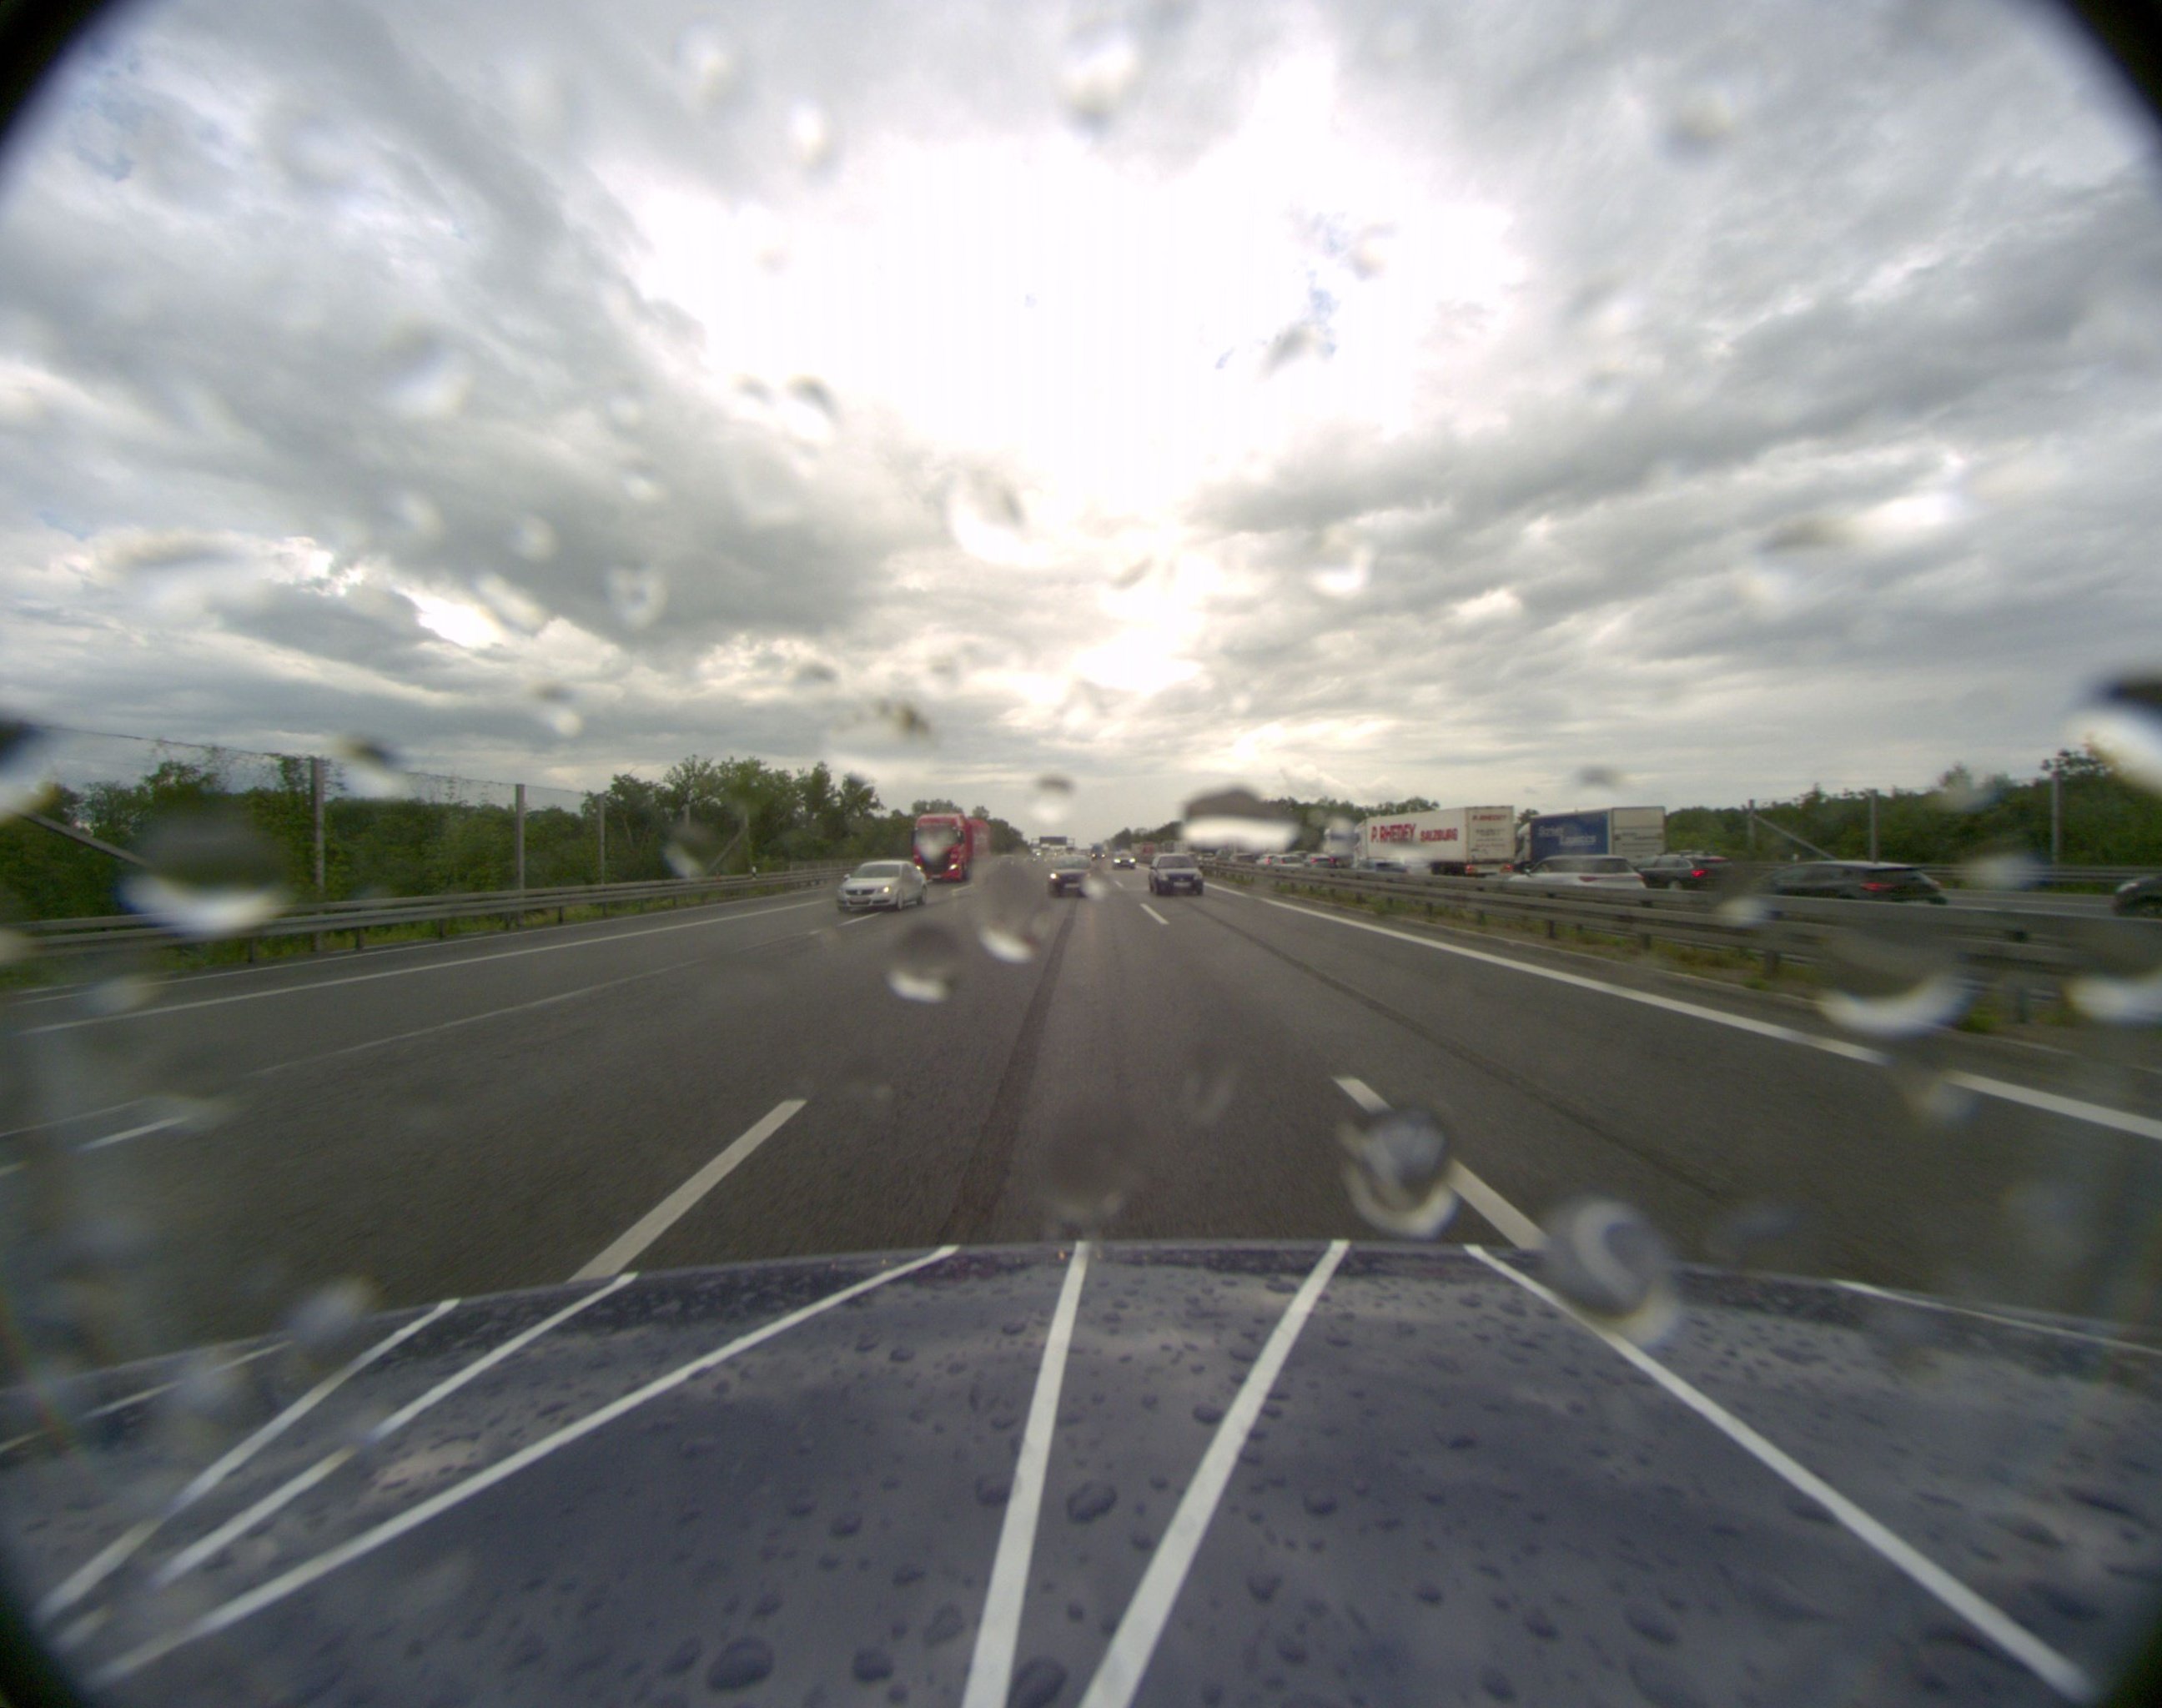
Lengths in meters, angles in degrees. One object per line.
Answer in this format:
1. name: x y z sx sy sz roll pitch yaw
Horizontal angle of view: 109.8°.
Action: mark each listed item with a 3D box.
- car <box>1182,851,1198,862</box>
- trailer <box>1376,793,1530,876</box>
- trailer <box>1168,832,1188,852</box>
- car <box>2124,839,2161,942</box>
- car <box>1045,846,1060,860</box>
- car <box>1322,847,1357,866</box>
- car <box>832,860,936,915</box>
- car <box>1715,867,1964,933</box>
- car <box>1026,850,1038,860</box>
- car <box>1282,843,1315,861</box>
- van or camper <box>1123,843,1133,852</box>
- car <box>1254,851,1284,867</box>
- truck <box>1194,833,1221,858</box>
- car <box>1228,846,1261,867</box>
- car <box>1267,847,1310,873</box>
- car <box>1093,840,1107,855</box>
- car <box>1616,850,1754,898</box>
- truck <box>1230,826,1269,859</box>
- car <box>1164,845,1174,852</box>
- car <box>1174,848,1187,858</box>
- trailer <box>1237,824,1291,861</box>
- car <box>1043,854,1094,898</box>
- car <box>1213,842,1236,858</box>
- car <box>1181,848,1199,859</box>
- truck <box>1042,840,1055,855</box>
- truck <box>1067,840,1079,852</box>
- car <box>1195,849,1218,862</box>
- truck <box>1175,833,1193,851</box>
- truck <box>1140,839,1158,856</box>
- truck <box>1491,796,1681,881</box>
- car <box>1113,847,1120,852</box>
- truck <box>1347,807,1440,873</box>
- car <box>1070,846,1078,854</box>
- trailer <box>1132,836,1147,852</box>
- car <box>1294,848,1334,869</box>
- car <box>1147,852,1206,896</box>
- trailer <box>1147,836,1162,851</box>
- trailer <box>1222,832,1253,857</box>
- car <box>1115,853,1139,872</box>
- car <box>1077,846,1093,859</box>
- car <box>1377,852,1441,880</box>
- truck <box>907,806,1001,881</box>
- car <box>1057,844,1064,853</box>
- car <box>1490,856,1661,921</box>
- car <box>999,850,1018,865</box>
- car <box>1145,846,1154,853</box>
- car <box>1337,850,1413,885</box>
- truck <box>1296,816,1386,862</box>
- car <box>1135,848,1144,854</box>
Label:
1. car: 17.251 0.303 120.357 1.724 1.690 5.055 0 0 0
2. trailer: 21.352 -0.997 44.853 3.195 4.169 11.955 -1 0 0
3. trailer: 20.663 -2.607 162.316 2.825 4.038 11.601 -2 0 0
4. car: 20.569 0.661 11.999 1.587 1.879 4.820 -1 0 0
5. car: -3.947 -0.195 104.750 1.962 1.831 3.999 -1 1 -1
6. car: 22.078 0.233 65.028 1.649 1.536 4.000 -1 0 1
7. car: -5.831 0.939 23.053 1.898 1.438 4.246 -1 0 1
8. car: 17.584 0.991 17.949 1.707 1.281 4.187 -1 0 0
9. car: -7.497 0.184 116.069 1.782 1.438 4.586 -1 0 -3
10. car: 21.433 -0.197 74.931 1.973 1.737 4.575 -1 0 1
11. van or camper: 12.903 -1.809 210.224 2.284 2.481 7.301 -1 0 -1
12. car: 17.782 0.441 72.030 1.649 1.501 4.860 -1 0 1
13. truck: 17.895 -1.149 107.956 2.526 3.379 8.539 0 0 0
14. car: 13.542 0.173 63.157 1.797 1.610 4.283 -1 1 1
15. car: 13.453 0.352 49.468 1.797 1.610 4.000 -1 1 1
16. car: 3.188 -1.049 126.517 1.999 2.354 4.171 -2 1 -1
17. car: 21.024 0.653 26.681 1.649 1.555 4.105 -1 0 1
18. truck: 21.364 -1.406 96.970 3.207 3.911 7.573 -2 1 0
19. car: 21.415 -1.355 185.359 1.998 1.820 4.000 -1 1 1
20. car: 17.624 -0.178 134.420 1.724 1.718 5.104 0 0 0
21. trailer: 21.373 -1.342 89.785 3.252 3.910 13.014 -2 0 0
22. car: -0.402 0.754 28.284 1.668 1.431 4.405 -1 1 1
23. car: 18.011 -0.502 95.437 1.826 2.040 5.674 -1 0 0
24. car: 13.815 -0.043 96.343 1.724 1.346 4.534 0 0 0
25. truck: -9.405 -1.835 217.264 3.256 3.884 12.308 -2 0 -4
26. truck: -2.820 -2.623 253.303 2.959 3.777 12.321 -2 0 -5
27. car: 13.524 0.156 82.004 1.724 1.346 4.625 0 0 0
28. truck: 24.593 -2.799 181.276 2.727 3.959 11.692 -1 0 0
29. truck: 16.878 -1.637 189.335 2.992 4.125 12.520 -1 0 -1
30. truck: 25.780 -0.713 39.816 2.906 3.818 10.756 -1 0 1
31. car: 12.142 -1.553 257.453 1.918 1.756 5.330 -1 1 -1
32. truck: 21.279 -0.913 52.366 3.186 4.169 7.737 -1 0 0
33. car: -1.906 -1.131 209.567 1.999 2.002 3.507 -2 1 -2
34. trailer: 16.082 -2.707 209.708 2.888 4.121 13.025 -1 0 -1
35. car: 17.638 0.297 57.684 1.649 1.494 4.676 -1 1 1
36. car: 3.376 0.669 27.610 1.781 1.399 5.017 -1 0 4
37. trailer: 20.464 -2.808 212.353 2.888 4.121 13.027 -1 0 1
38. trailer: 26.120 -1.601 127.360 3.227 3.936 8.849 -2 1 0
39. car: 3.813 0.687 63.879 1.751 1.489 4.015 -1 1 1
40. car: 0.581 -0.234 104.986 2.134 1.831 3.999 -1 1 0
41. car: 17.915 0.618 41.730 1.649 1.399 4.543 -1 1 1
42. truck: -7.696 -0.599 48.892 3.160 3.980 15.635 -1 0 0
43. car: -5.701 -1.472 209.154 2.037 2.587 4.512 -1 0 -2
44. car: 14.044 0.891 21.983 1.877 1.638 4.721 -1 0 0
45. car: -7.802 0.412 82.472 1.820 1.534 4.356 -1 0 -3
46. car: 13.735 -0.918 152.762 1.577 1.346 4.384 0 0 0
47. car: 13.064 0.539 34.081 1.649 1.432 4.729 -1 1 1
48. truck: 25.355 -1.306 75.638 2.655 3.997 17.745 -1 0 0
49. car: 13.143 -0.652 171.110 1.836 1.443 3.999 -1 1 0
